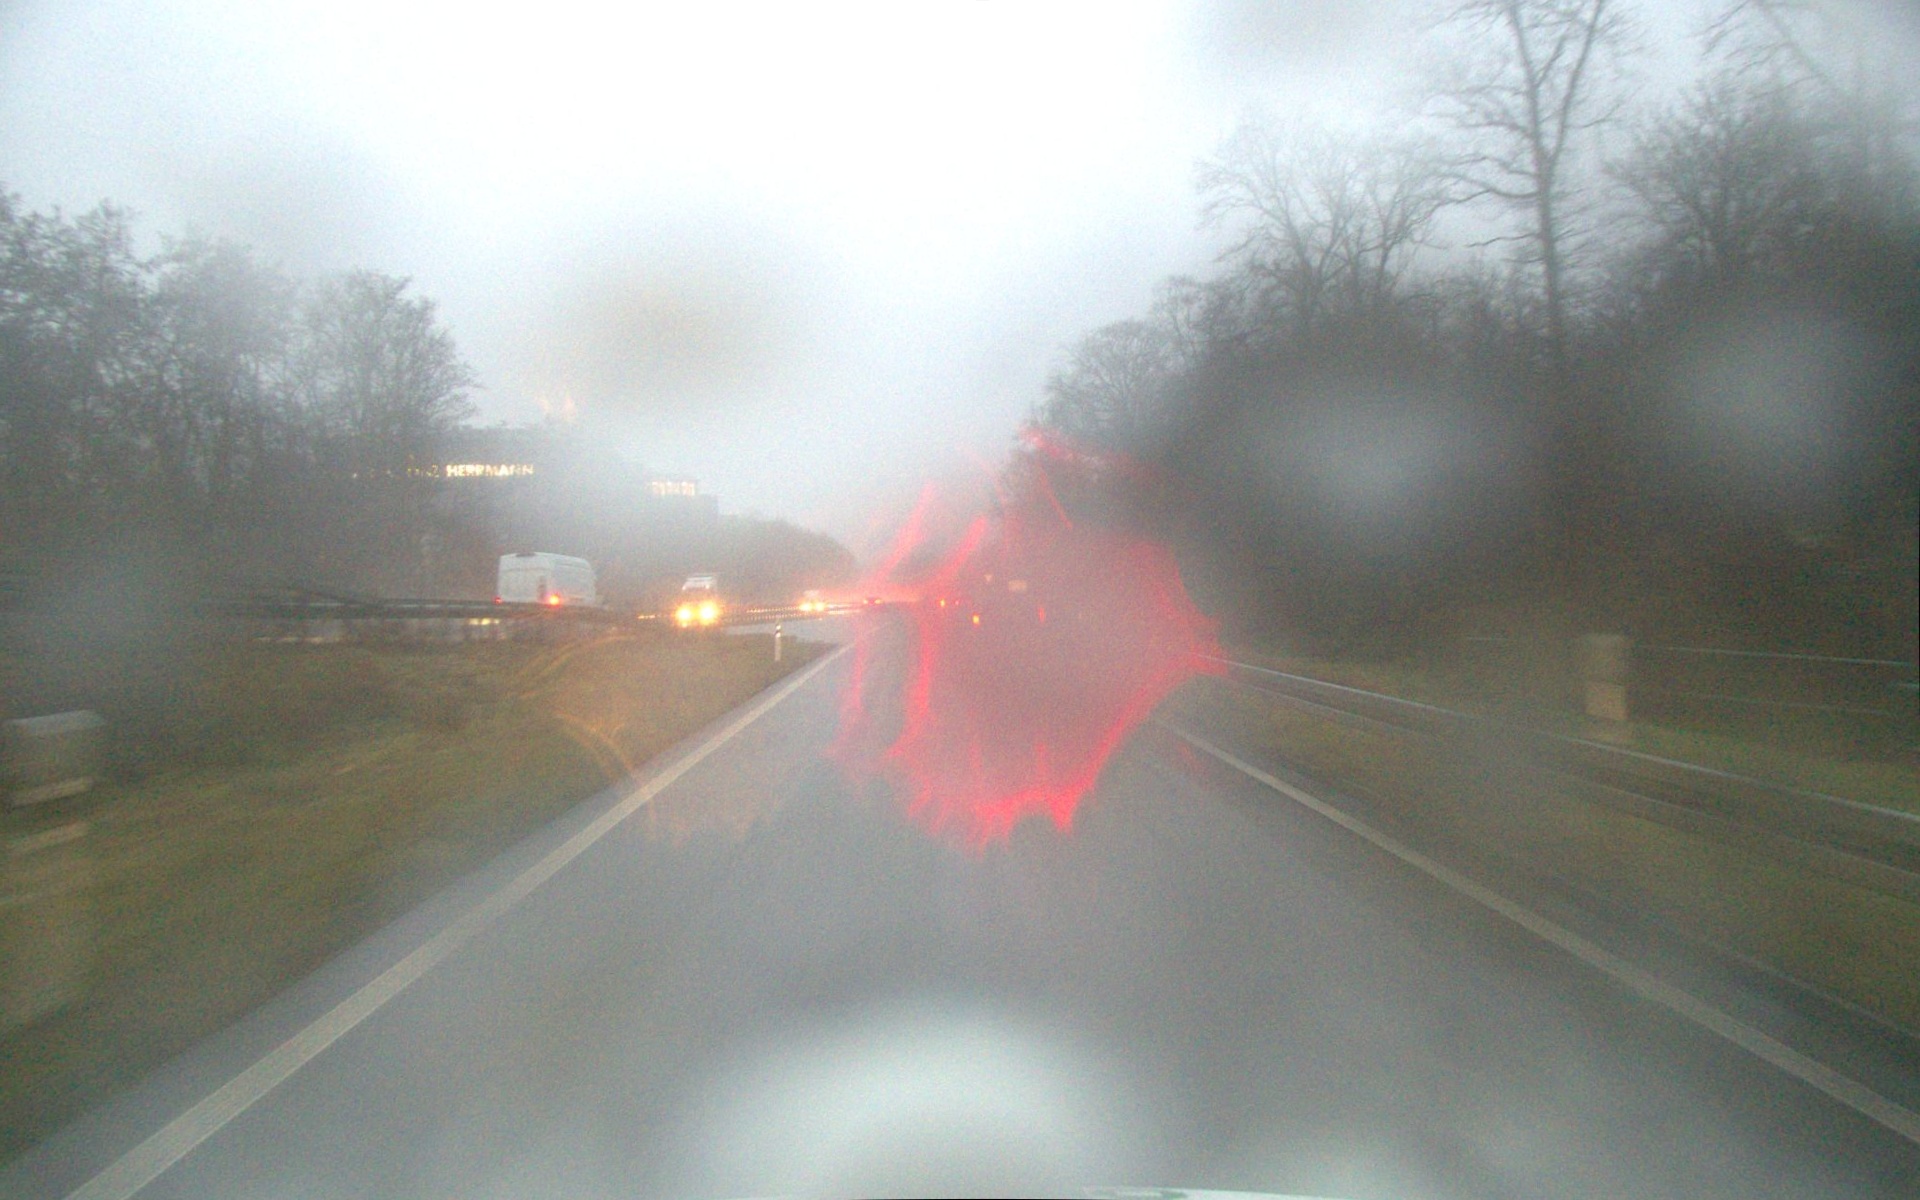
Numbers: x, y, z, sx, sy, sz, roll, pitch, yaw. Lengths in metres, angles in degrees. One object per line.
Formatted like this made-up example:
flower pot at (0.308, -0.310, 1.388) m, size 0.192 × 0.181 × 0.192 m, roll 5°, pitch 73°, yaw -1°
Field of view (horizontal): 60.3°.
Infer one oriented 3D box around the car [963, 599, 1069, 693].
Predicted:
car at (0.979, 0.791, 30.341) m, size 1.697 × 1.453 × 3.765 m, roll 5°, pitch 0°, yaw 0°

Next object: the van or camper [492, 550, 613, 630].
van or camper at (-13.137, -0.295, 53.702) m, size 2.220 × 2.455 × 5.582 m, roll 0°, pitch 0°, yaw 4°
